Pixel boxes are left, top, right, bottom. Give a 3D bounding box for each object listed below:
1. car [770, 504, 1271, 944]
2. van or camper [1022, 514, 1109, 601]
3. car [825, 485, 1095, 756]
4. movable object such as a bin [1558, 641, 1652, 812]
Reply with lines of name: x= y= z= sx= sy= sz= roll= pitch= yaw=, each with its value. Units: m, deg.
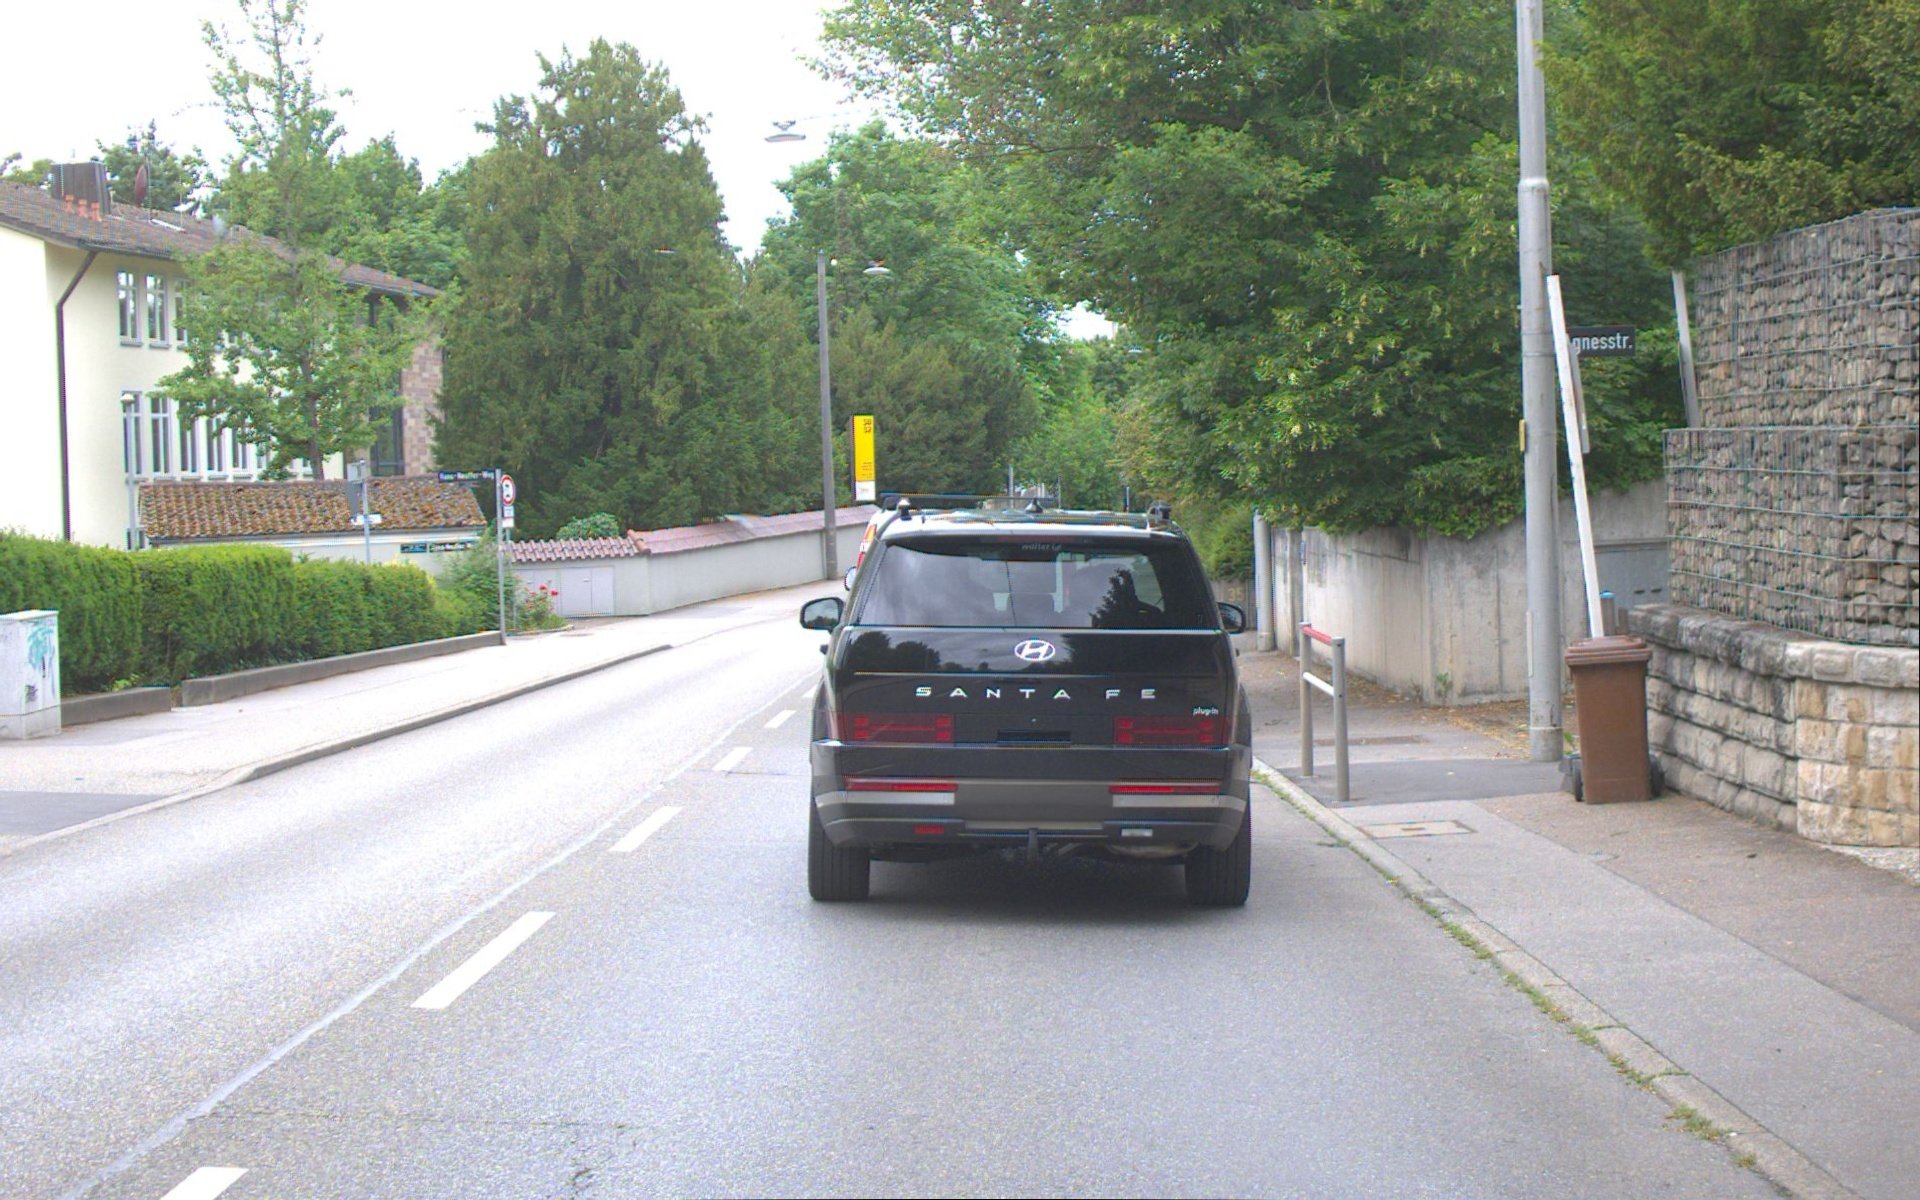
car: x=0.265 y=0.452 z=15.869 sx=1.957 sy=1.707 sz=4.223 roll=2 pitch=1 yaw=1
van or camper: x=2.662 y=-1.076 z=85.921 sx=1.676 sy=2.000 sz=3.937 roll=-1 pitch=2 yaw=9
car: x=-0.083 y=0.087 z=28.133 sx=1.957 sy=1.949 sz=4.224 roll=1 pitch=3 yaw=-3
movable object such as a bin: x=3.590 y=0.701 z=19.154 sx=0.445 sy=0.907 sz=0.394 roll=-4 pitch=0 yaw=10
